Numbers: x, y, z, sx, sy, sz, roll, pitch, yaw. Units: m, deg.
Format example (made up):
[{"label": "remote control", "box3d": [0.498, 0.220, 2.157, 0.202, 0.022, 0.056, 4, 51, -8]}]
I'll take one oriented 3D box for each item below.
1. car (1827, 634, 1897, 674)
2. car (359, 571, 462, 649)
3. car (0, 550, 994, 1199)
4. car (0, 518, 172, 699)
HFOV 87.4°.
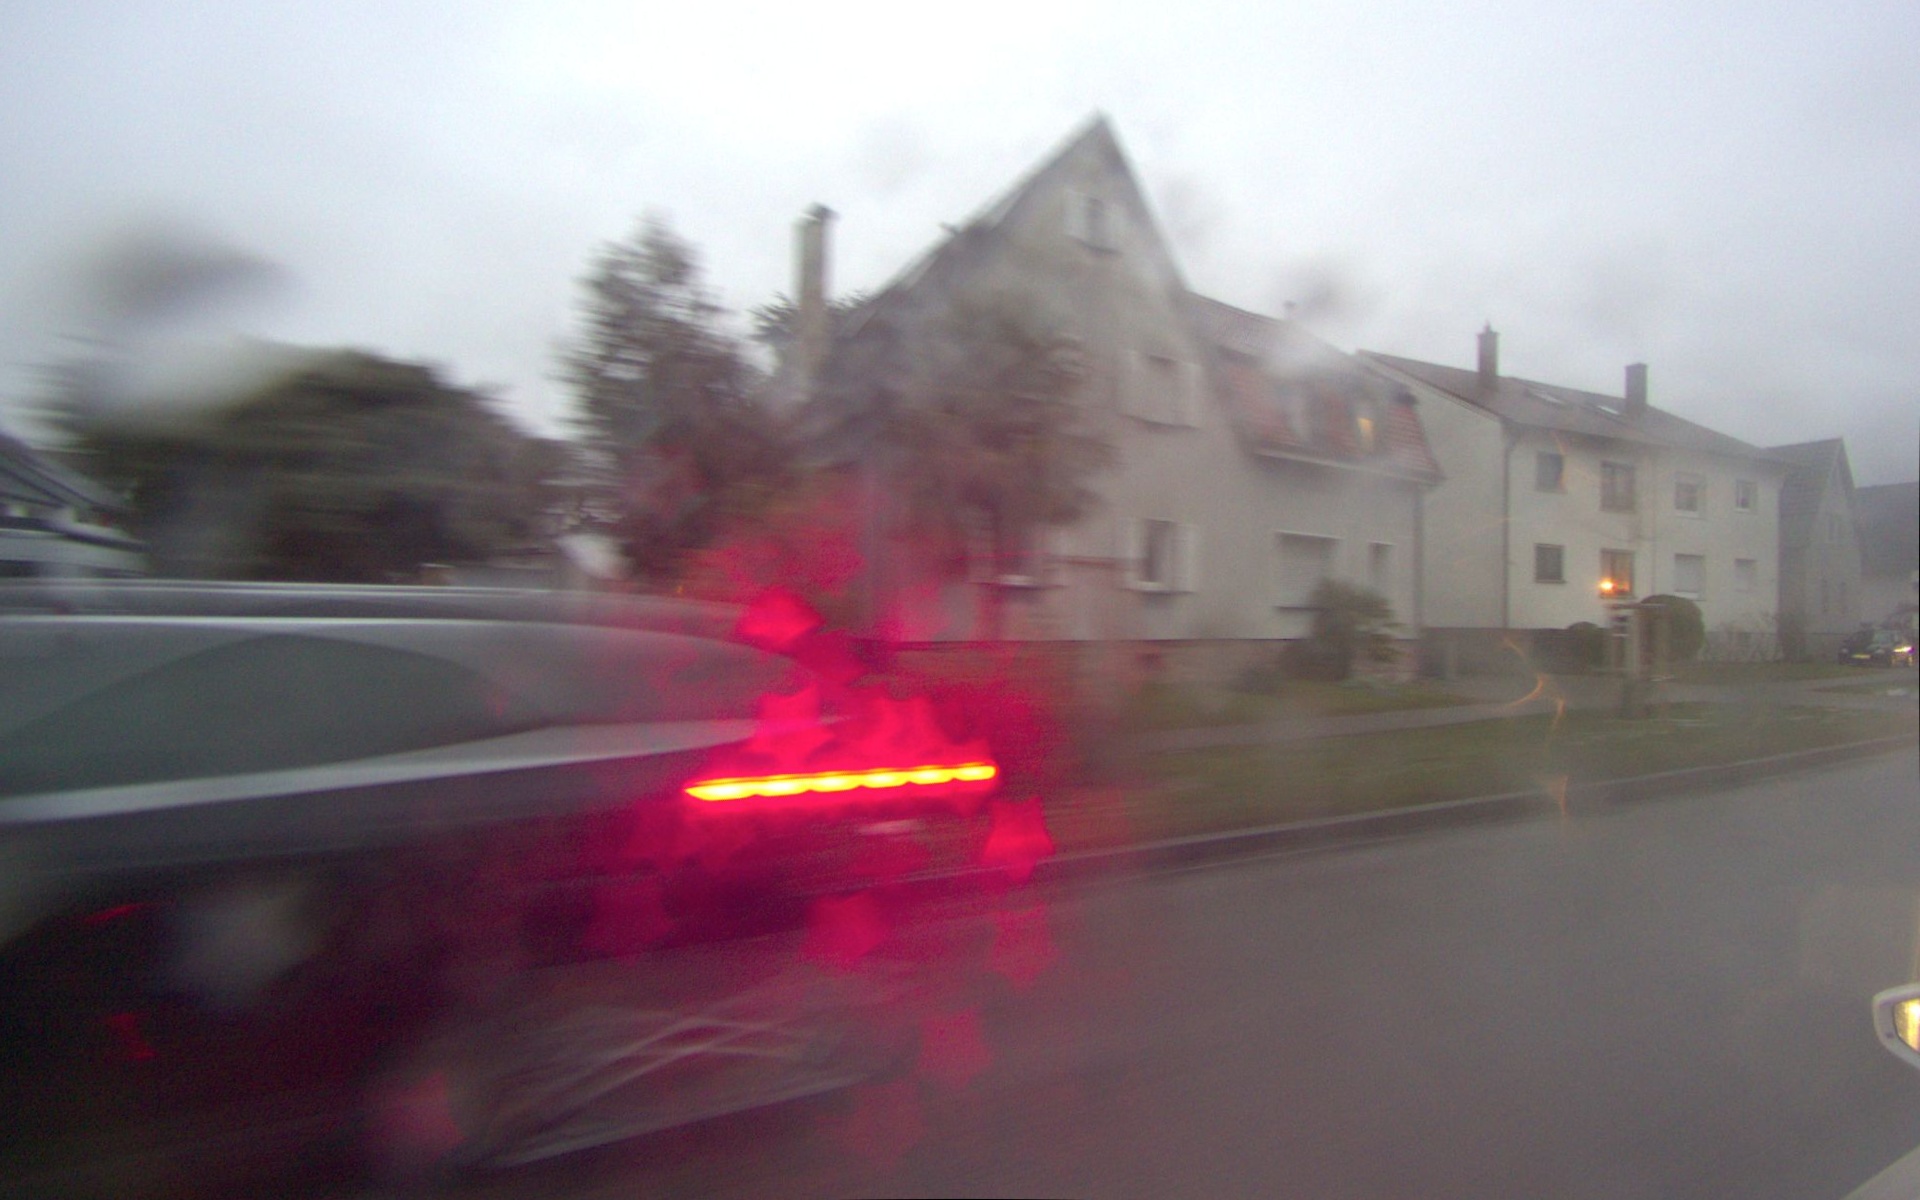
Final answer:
[{"label": "car", "box3d": [35.358, 2.092, 39.356, 3.974, 1.411, 1.759, 2, 0, -45]}, {"label": "car", "box3d": [-18.082, 0.312, 33.345, 2.284, 2.372, 5.328, 1, 0, -21]}, {"label": "car", "box3d": [-2.045, 0.726, 2.984, 3.952, 1.574, 1.815, 1, -2, -29]}, {"label": "car", "box3d": [-15.145, 0.097, 16.731, 1.973, 2.595, 5.321, 1, 0, -25]}]
